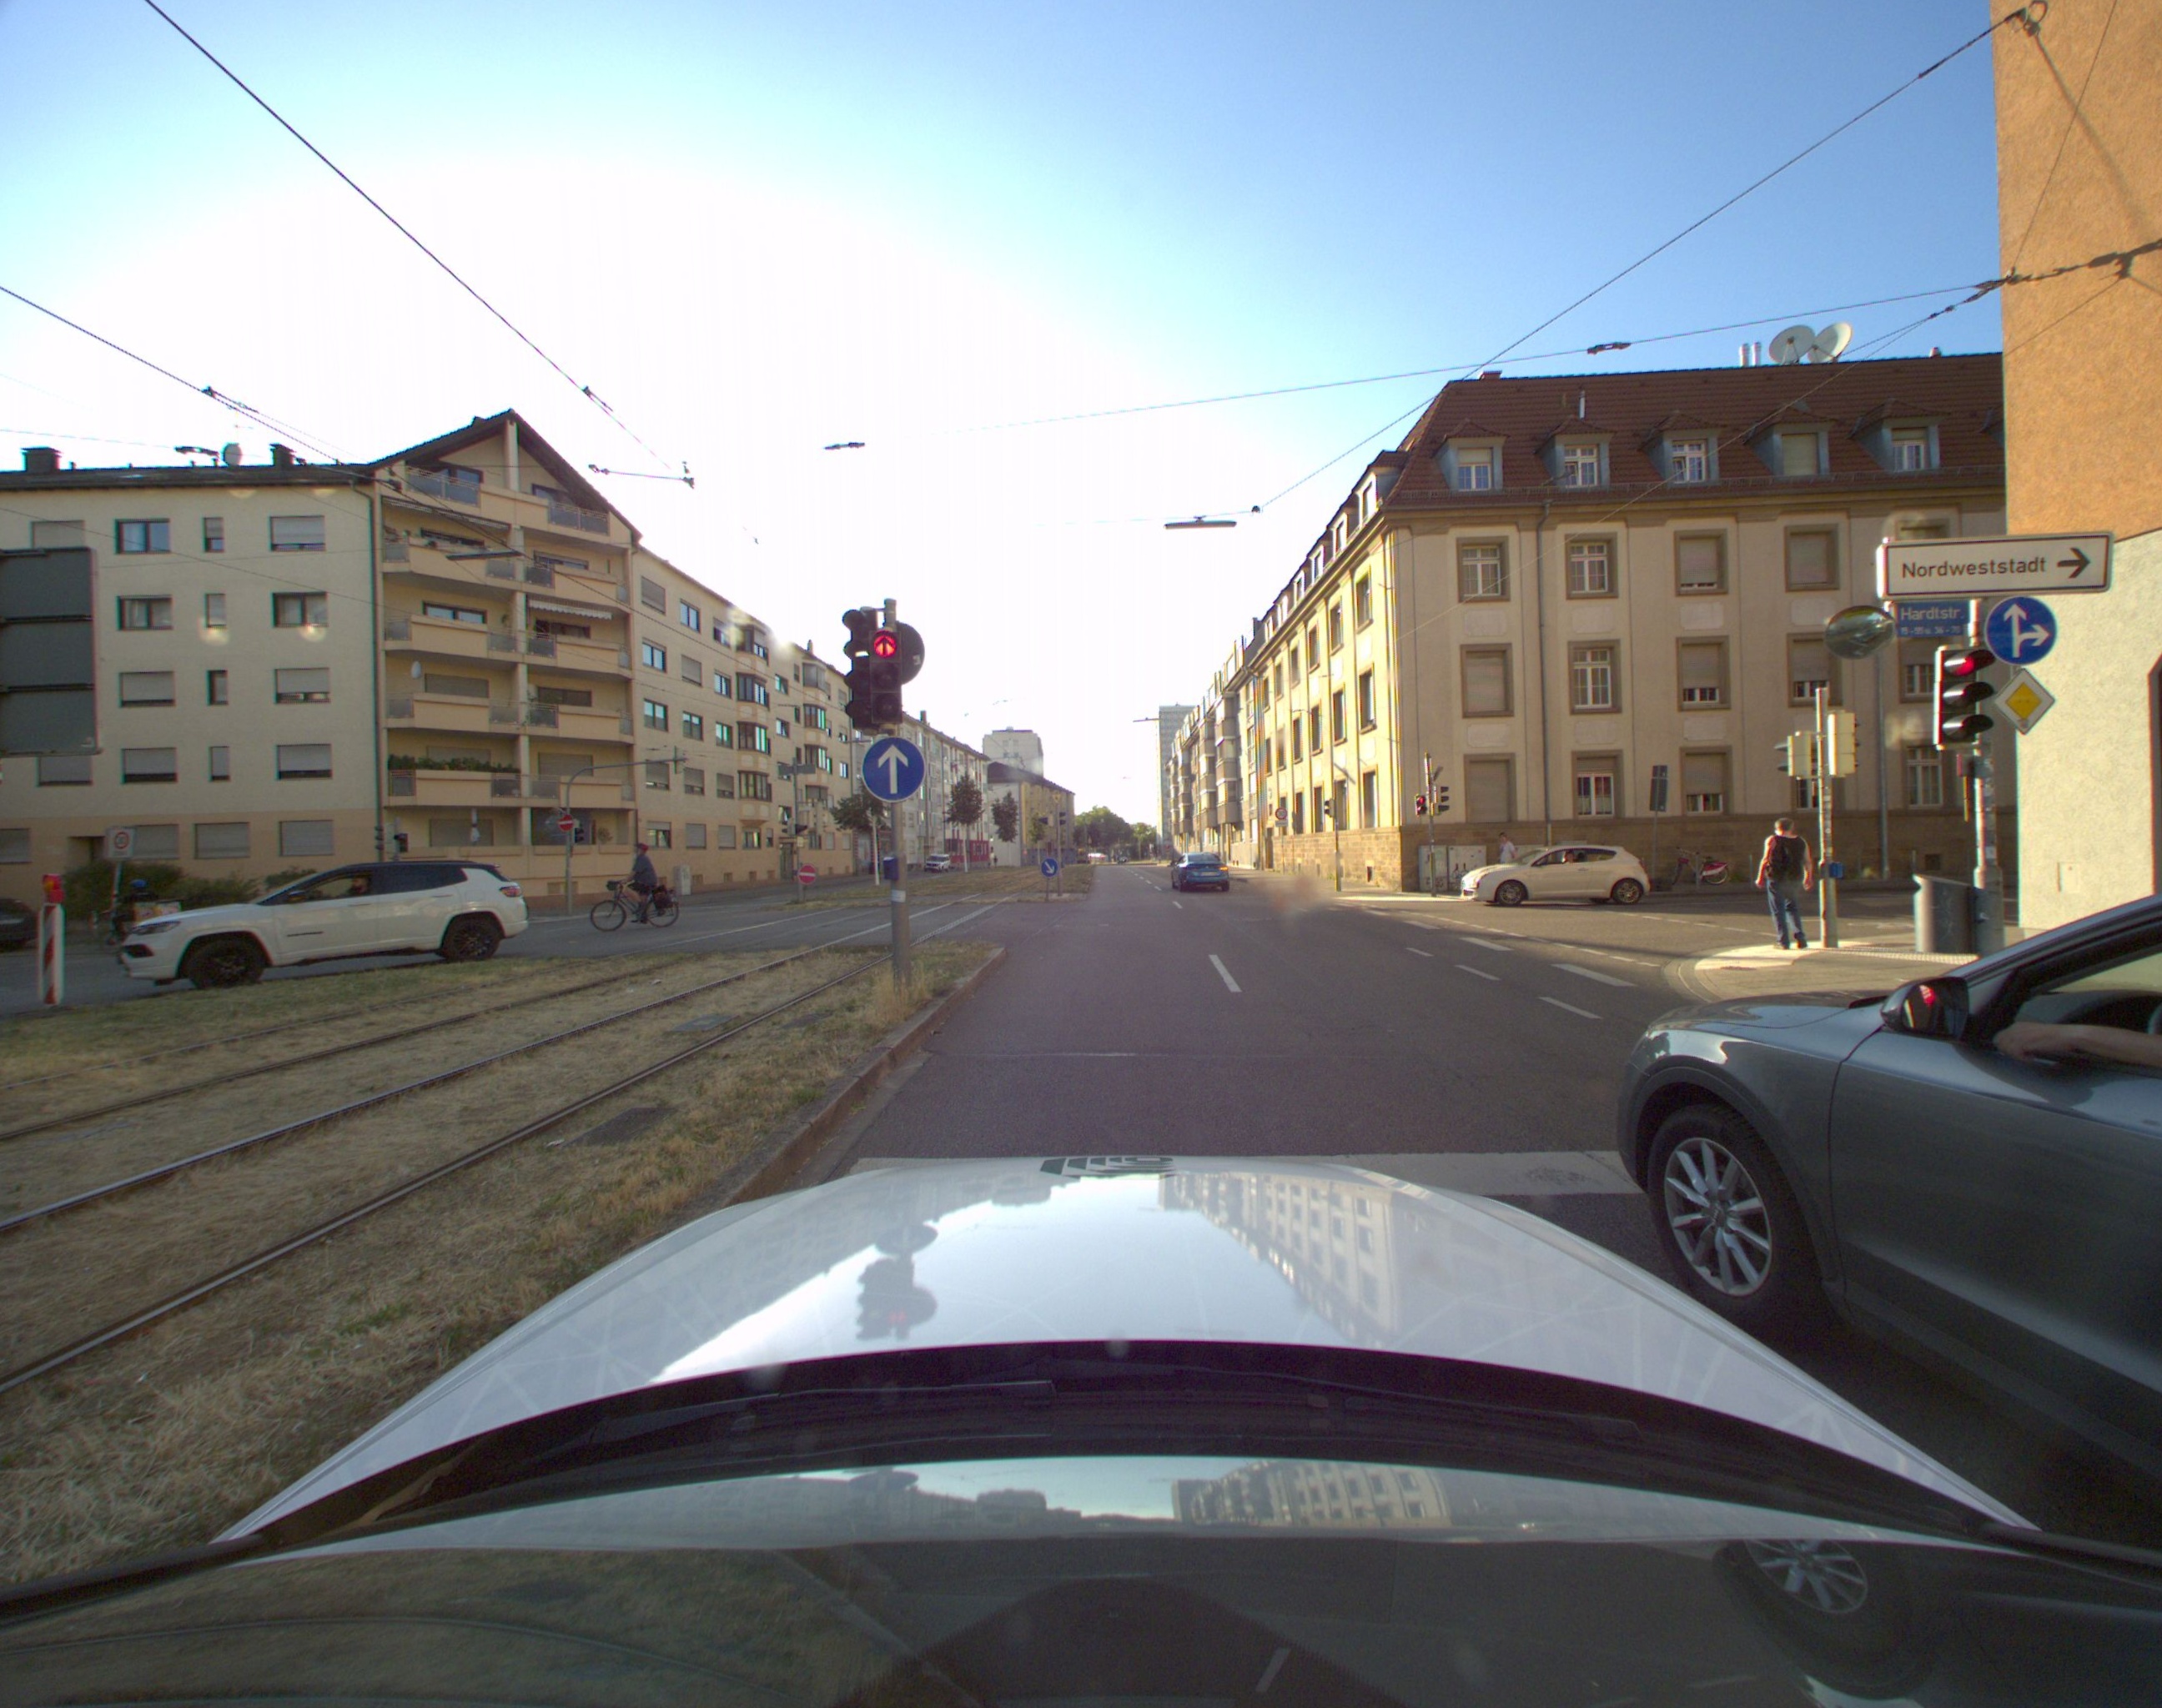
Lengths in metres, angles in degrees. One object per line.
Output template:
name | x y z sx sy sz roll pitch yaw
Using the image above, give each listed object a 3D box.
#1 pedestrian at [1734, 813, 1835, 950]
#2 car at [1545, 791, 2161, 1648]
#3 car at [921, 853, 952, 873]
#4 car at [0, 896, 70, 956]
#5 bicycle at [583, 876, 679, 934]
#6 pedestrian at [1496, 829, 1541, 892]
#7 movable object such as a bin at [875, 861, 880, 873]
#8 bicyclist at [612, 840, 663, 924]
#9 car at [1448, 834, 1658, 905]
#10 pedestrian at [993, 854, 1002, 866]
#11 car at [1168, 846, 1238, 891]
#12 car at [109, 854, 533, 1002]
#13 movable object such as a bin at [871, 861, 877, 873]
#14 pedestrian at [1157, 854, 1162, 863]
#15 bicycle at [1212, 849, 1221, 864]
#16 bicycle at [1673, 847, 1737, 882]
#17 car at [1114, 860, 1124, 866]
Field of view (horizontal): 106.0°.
pedestrian | 9.431 0.360 10.943 0.627 1.758 0.826 0 -1 1
car | 2.804 0.664 1.436 1.691 1.552 4.227 0 0 2
car | -14.533 0.900 82.115 1.984 1.925 4.548 -1 -1 5
car | -30.146 1.973 21.507 3.983 1.442 1.996 -2 2 -7
bicycle | -10.476 1.174 18.996 1.868 1.257 0.454 -2 1 -16
pedestrian | 12.538 0.177 23.349 0.832 1.762 0.824 0 -1 1
movable object such as a bin | -17.362 1.106 69.456 0.297 1.036 0.441 0 -1 1
bicyclist | -10.346 0.635 19.017 0.807 1.882 0.650 -3 2 -14
car | 11.333 0.382 19.853 3.962 1.564 2.005 -1 -1 10
pedestrian | -11.782 0.891 114.961 0.957 1.670 1.013 -1 -1 7
car | 4.510 0.533 30.807 1.987 1.554 4.392 0 -1 0
car | -11.192 0.958 12.404 4.419 1.734 1.975 -2 -1 -44
movable object such as a bin | -17.520 1.115 68.943 0.297 1.036 0.442 0 -1 4
pedestrian | 9.918 0.570 102.935 0.688 1.234 0.737 0 -1 2
bicycle | 10.305 0.188 61.827 0.382 1.096 1.503 -2 -1 0
bicycle | 18.372 0.324 24.002 1.491 1.018 0.251 -1 -1 17
car | 9.944 2.362 212.255 1.885 1.633 4.761 -2 0 10
